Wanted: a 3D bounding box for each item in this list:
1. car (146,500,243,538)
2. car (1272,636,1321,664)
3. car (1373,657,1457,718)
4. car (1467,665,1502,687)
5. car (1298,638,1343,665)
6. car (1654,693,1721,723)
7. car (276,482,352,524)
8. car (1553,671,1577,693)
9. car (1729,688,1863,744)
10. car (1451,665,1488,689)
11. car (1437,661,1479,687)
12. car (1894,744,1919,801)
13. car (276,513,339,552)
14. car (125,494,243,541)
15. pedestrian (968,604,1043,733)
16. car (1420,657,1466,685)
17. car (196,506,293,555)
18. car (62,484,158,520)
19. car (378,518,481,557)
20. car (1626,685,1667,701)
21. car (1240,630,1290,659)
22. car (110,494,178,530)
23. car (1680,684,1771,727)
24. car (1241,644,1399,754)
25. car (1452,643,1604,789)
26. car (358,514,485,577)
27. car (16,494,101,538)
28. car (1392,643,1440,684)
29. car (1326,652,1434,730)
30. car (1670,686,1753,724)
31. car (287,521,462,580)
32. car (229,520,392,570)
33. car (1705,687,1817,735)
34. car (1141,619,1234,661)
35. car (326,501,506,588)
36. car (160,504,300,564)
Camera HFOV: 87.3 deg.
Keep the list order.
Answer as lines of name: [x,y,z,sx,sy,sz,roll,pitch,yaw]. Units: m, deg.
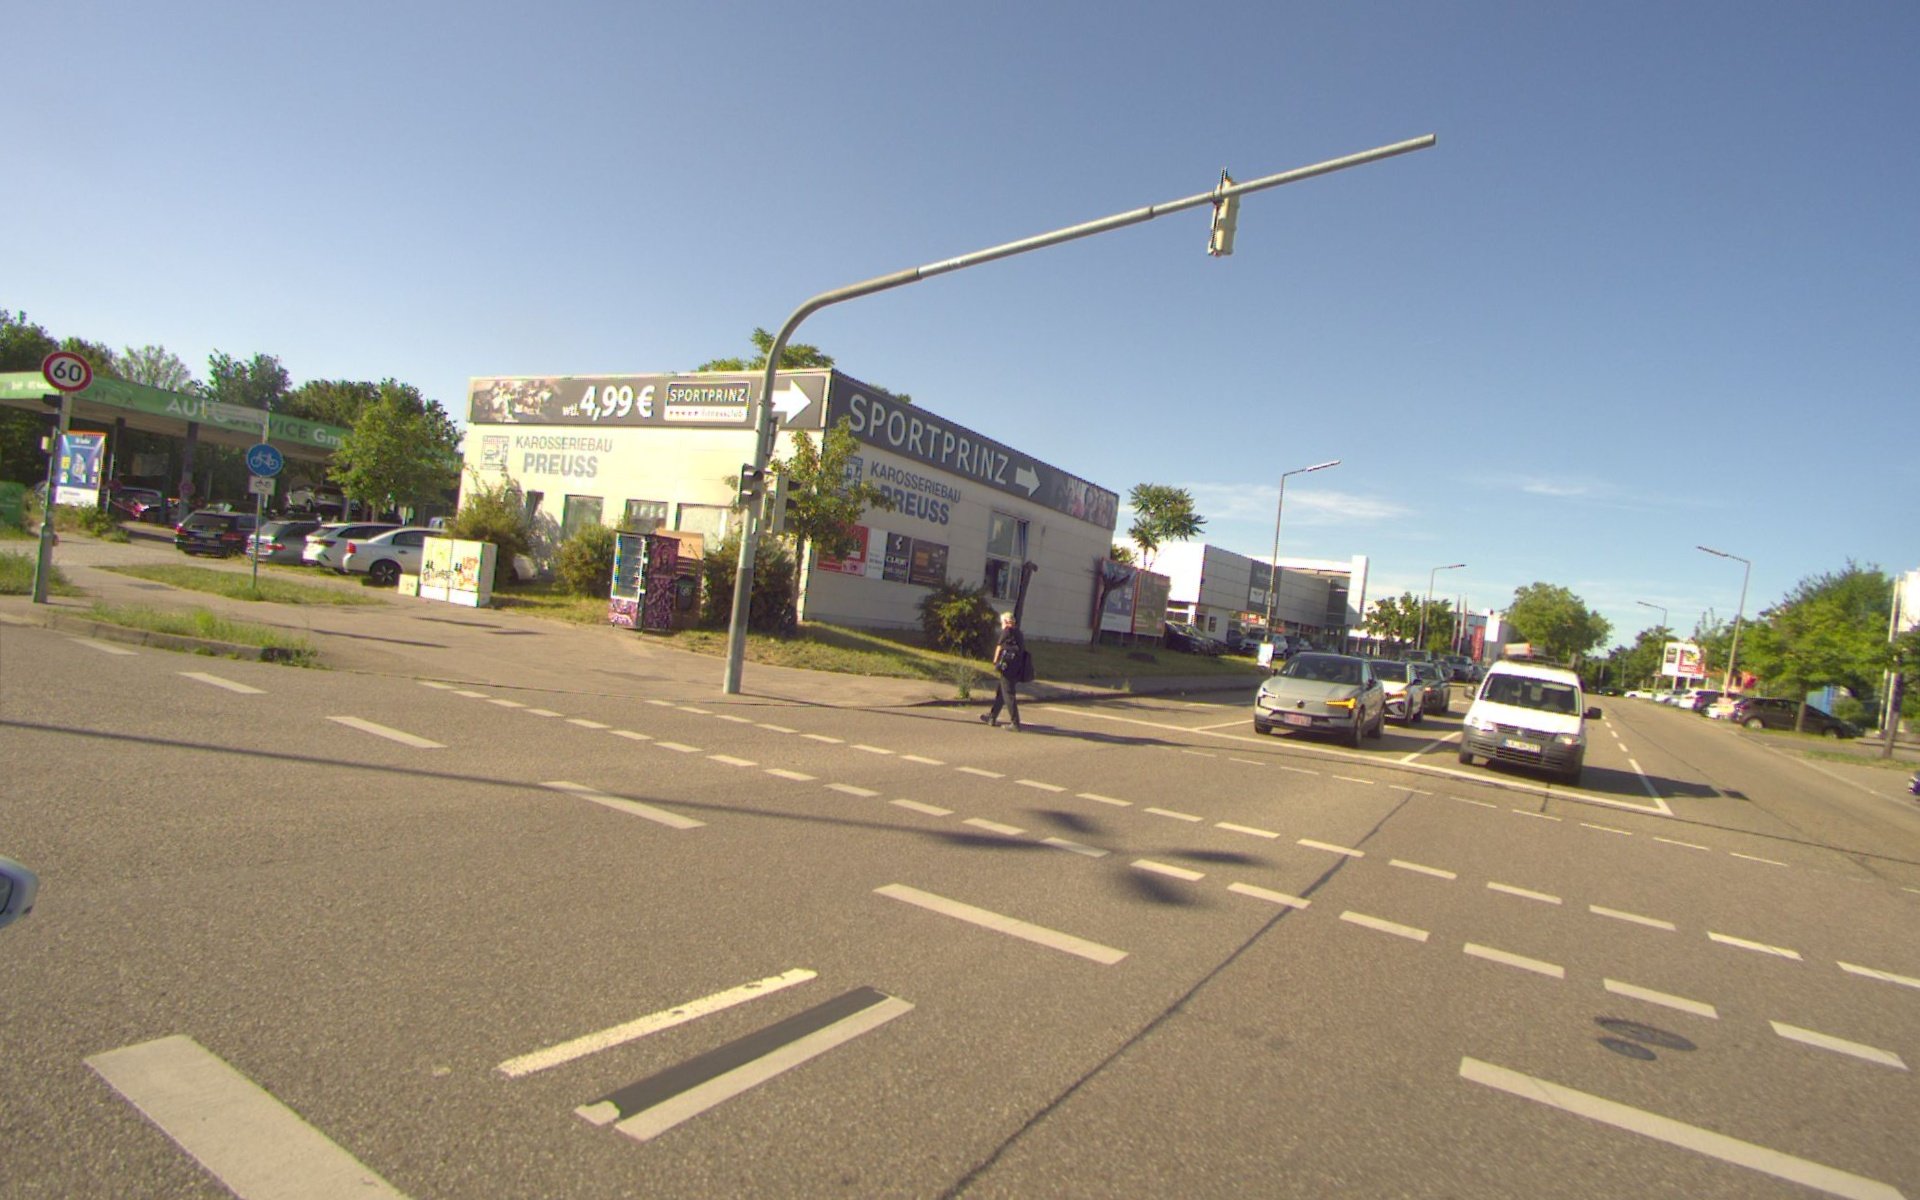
car: [-43.559,-4.599,57.293,1.668,1.535,3.995,6,0,27]
car: [21.631,3.225,64.660,1.754,1.379,3.991,6,-3,36]
car: [14.186,2.684,31.273,1.779,1.609,3.922,5,-1,32]
car: [45.942,6.671,88.087,1.970,1.618,3.985,6,0,37]
car: [24.773,3.551,69.061,1.754,1.379,3.991,6,-3,36]
car: [58.872,8.720,81.458,4.081,1.874,1.719,6,-1,31]
car: [-34.188,-5.135,53.248,3.716,1.777,1.920,6,0,33]
car: [67.112,9.078,111.559,1.679,2.036,3.987,6,-3,39]
car: [37.725,5.220,45.536,4.289,1.858,1.719,6,-1,31]
car: [42.112,6.373,83.109,1.970,1.618,3.986,7,0,37]
car: [37.292,5.527,75.333,1.970,1.618,3.986,7,0,37]
car: [22.290,3.892,20.587,4.288,1.137,1.720,6,-1,30]
car: [-29.698,-3.052,45.883,1.672,1.437,3.682,8,-1,-24]
car: [-37.743,-4.010,49.014,3.929,1.503,2.000,8,-2,-5]
pedestrian: [0.663,0.981,14.467,0.607,1.737,0.758,7,0,31]
car: [33.527,4.937,69.790,1.970,1.663,3.985,6,0,37]
car: [-31.751,-3.097,44.635,3.934,1.666,1.998,6,-2,32]
car: [-50.941,-5.856,60.357,1.706,1.551,4.038,6,1,33]
car: [-23.926,-2.801,45.478,1.818,1.569,3.761,4,3,31]
car: [83.918,11.373,123.022,3.936,1.379,1.778,6,-2,34]
car: [18.432,2.703,60.768,1.779,1.401,3.923,6,-1,32]
car: [-47.169,-5.107,58.143,4.067,1.625,1.717,6,-2,32]
car: [49.050,6.728,64.548,4.289,2.044,1.719,7,0,31]
car: [6.890,1.803,18.970,1.871,1.665,4.094,5,-1,32]
car: [9.853,1.927,17.336,1.841,1.957,4.687,6,-1,32]
car: [-18.688,-1.907,34.847,4.518,1.807,1.683,6,3,29]
car: [-41.232,-3.844,45.995,4.179,1.592,1.746,7,0,33]
car: [26.870,3.776,59.253,1.711,1.991,3.992,6,-2,35]
car: [10.575,2.238,25.176,1.779,1.609,3.922,5,-1,32]
car: [52.640,7.357,70.555,4.289,2.007,1.719,6,-1,31]
car: [-16.325,-1.386,28.191,1.701,1.474,3.902,7,6,43]
car: [-19.085,-1.616,29.697,1.811,1.310,3.599,6,6,33]
car: [42.365,5.833,53.321,4.289,1.858,1.719,7,0,31]
car: [11.129,1.951,49.204,3.935,1.503,1.779,6,-2,33]
car: [-13.905,-1.421,25.962,3.944,2.044,1.673,0,7,-26]
car: [-22.900,-2.043,31.793,1.870,1.551,4.818,5,2,-15]
